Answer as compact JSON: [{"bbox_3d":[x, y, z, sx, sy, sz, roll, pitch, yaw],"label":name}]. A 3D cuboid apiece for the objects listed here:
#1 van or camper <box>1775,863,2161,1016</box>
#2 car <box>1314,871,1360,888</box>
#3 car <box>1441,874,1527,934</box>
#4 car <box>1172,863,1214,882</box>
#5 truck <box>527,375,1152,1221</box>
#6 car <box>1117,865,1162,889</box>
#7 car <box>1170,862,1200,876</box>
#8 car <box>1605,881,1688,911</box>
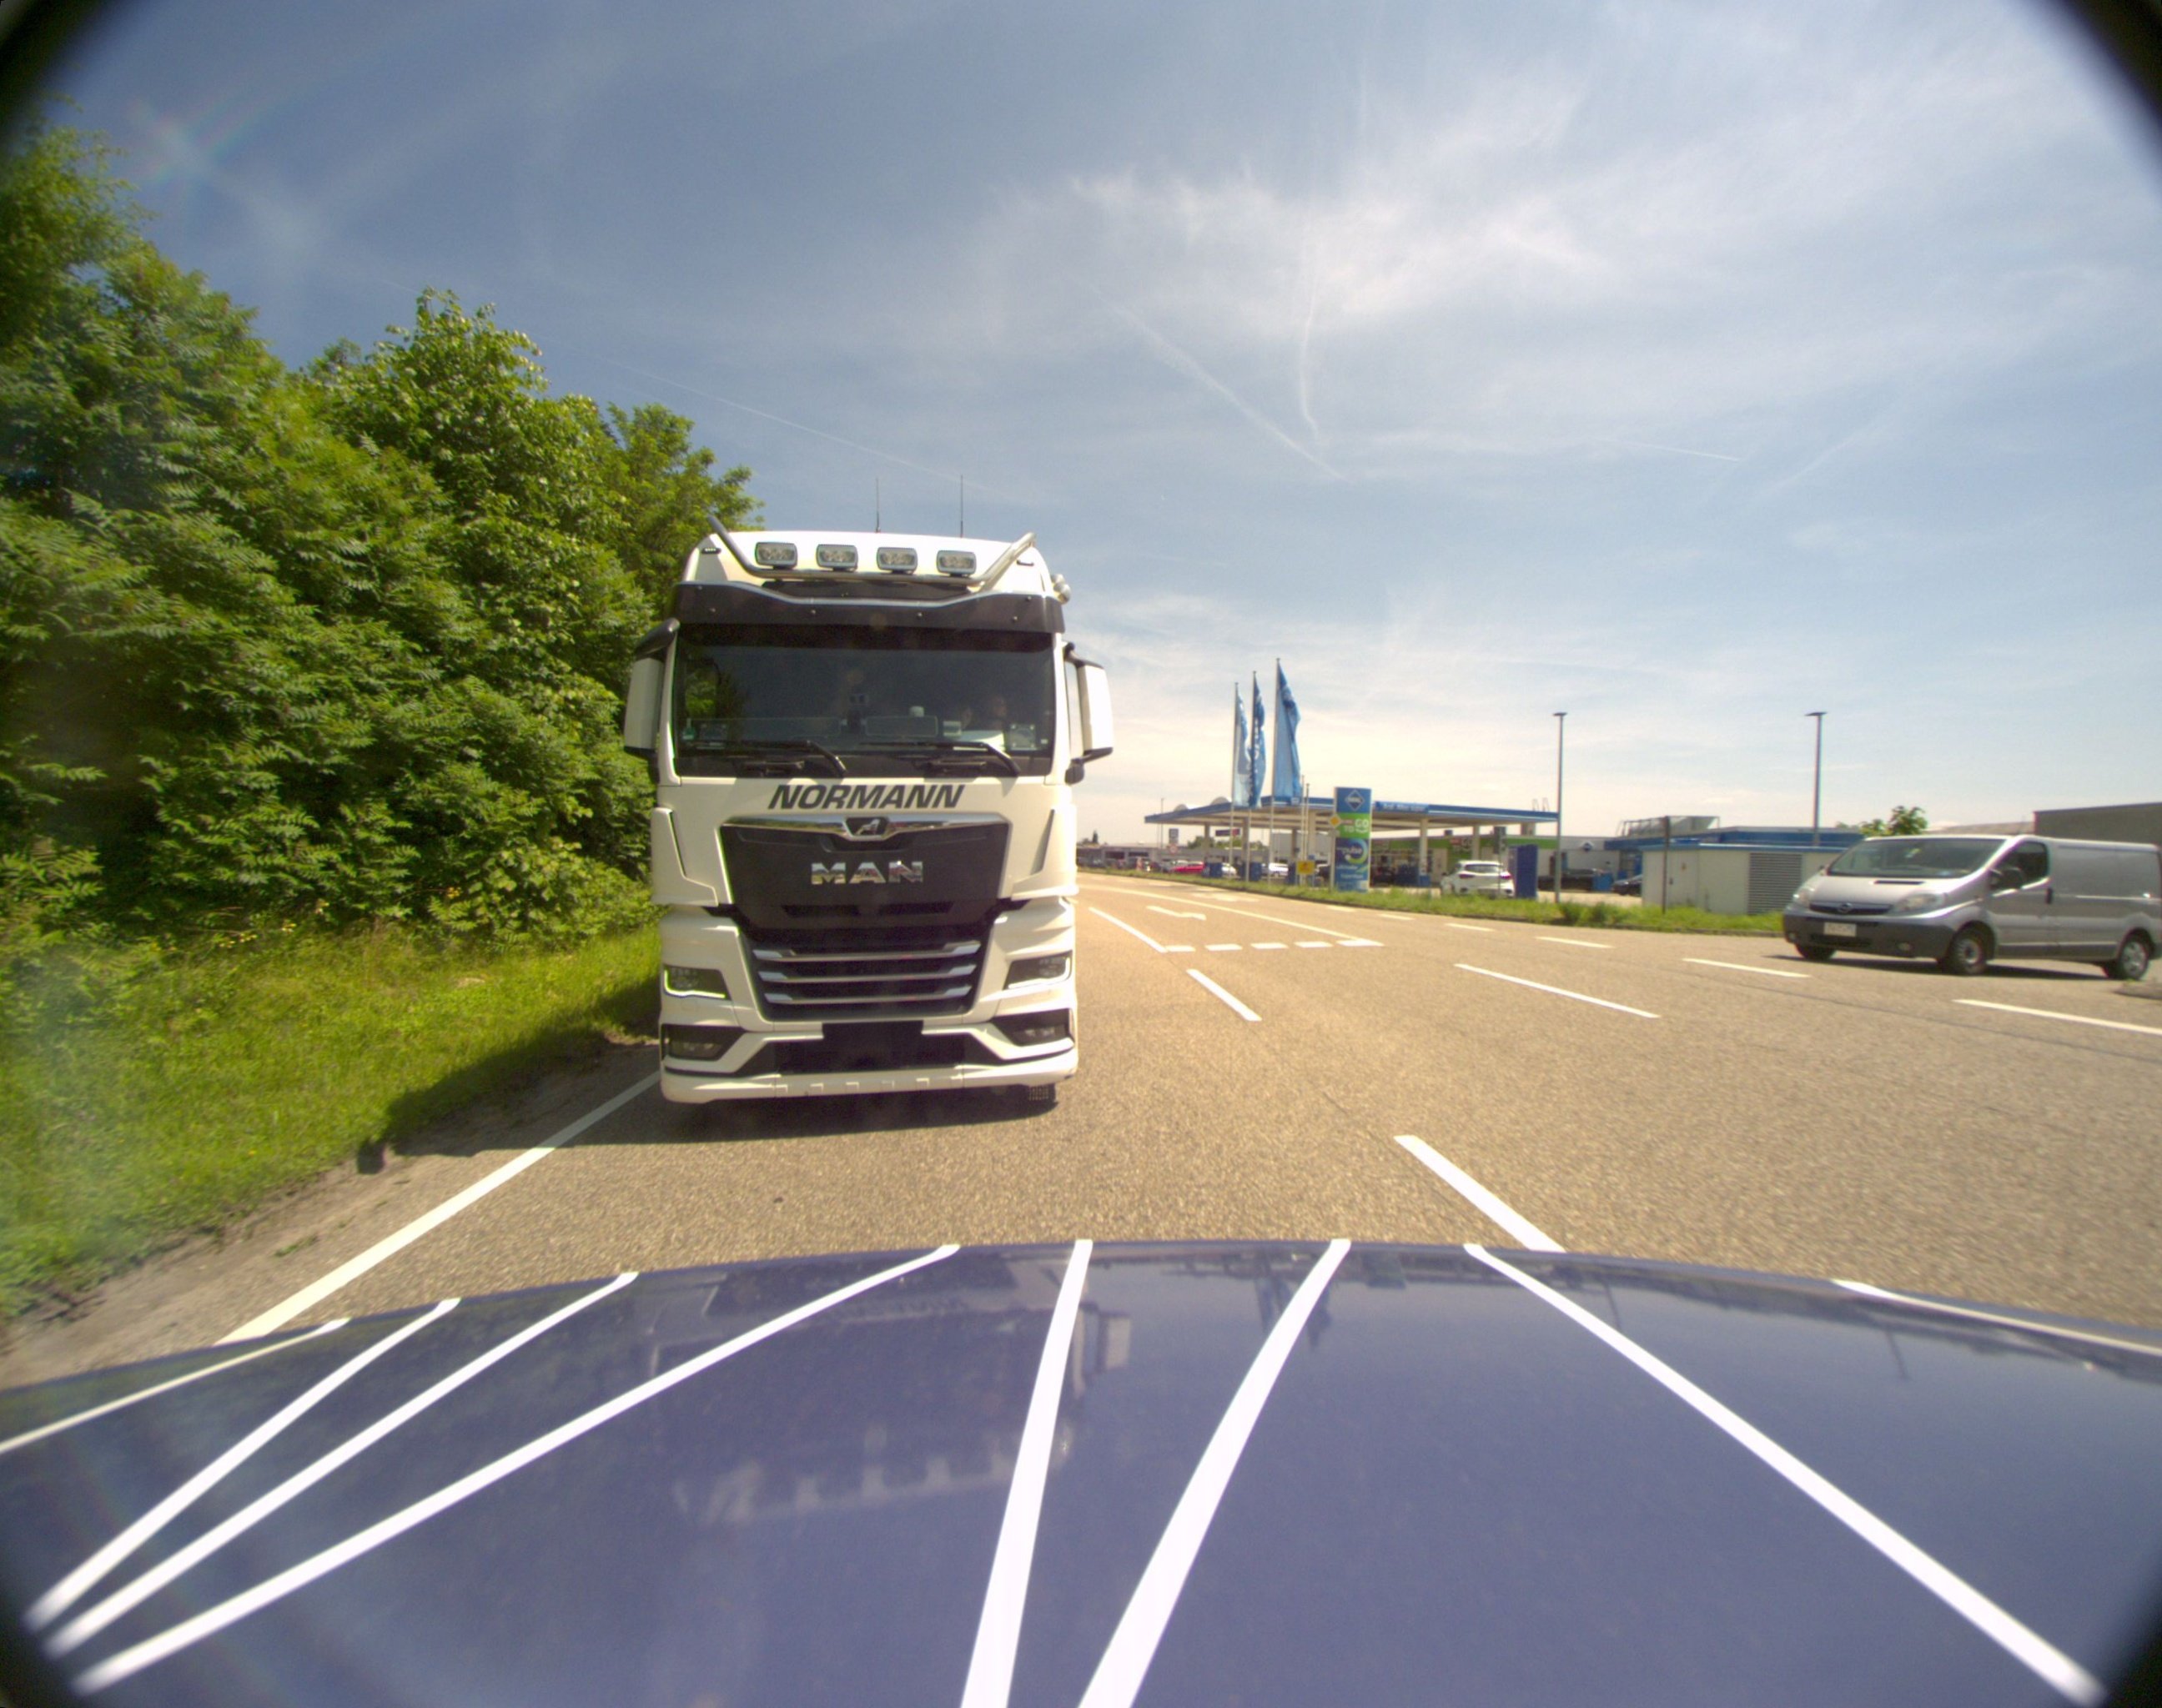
[{"bbox_3d":[12.994,1.182,10.931,4.865,1.893,1.902,2,0,-12],"label":"van or camper"},{"bbox_3d":[23.477,2.332,69.859,2.001,1.370,4.378,2,0,-12],"label":"car"},{"bbox_3d":[13.986,1.652,26.649,1.865,1.702,4.525,1,1,18],"label":"car"},{"bbox_3d":[11.794,1.939,80.148,4.000,1.892,1.999,2,0,-7],"label":"car"},{"bbox_3d":[-2.765,-0.390,12.597,2.983,4.070,17.614,-2,1,-11],"label":"truck"},{"bbox_3d":[4.579,1.819,60.410,1.836,1.709,4.561,1,0,-20],"label":"car"},{"bbox_3d":[11.485,1.643,84.423,1.713,1.526,3.993,1,0,-18],"label":"car"},{"bbox_3d":[32.800,2.404,44.126,4.004,1.597,1.943,1,0,-19],"label":"car"}]
